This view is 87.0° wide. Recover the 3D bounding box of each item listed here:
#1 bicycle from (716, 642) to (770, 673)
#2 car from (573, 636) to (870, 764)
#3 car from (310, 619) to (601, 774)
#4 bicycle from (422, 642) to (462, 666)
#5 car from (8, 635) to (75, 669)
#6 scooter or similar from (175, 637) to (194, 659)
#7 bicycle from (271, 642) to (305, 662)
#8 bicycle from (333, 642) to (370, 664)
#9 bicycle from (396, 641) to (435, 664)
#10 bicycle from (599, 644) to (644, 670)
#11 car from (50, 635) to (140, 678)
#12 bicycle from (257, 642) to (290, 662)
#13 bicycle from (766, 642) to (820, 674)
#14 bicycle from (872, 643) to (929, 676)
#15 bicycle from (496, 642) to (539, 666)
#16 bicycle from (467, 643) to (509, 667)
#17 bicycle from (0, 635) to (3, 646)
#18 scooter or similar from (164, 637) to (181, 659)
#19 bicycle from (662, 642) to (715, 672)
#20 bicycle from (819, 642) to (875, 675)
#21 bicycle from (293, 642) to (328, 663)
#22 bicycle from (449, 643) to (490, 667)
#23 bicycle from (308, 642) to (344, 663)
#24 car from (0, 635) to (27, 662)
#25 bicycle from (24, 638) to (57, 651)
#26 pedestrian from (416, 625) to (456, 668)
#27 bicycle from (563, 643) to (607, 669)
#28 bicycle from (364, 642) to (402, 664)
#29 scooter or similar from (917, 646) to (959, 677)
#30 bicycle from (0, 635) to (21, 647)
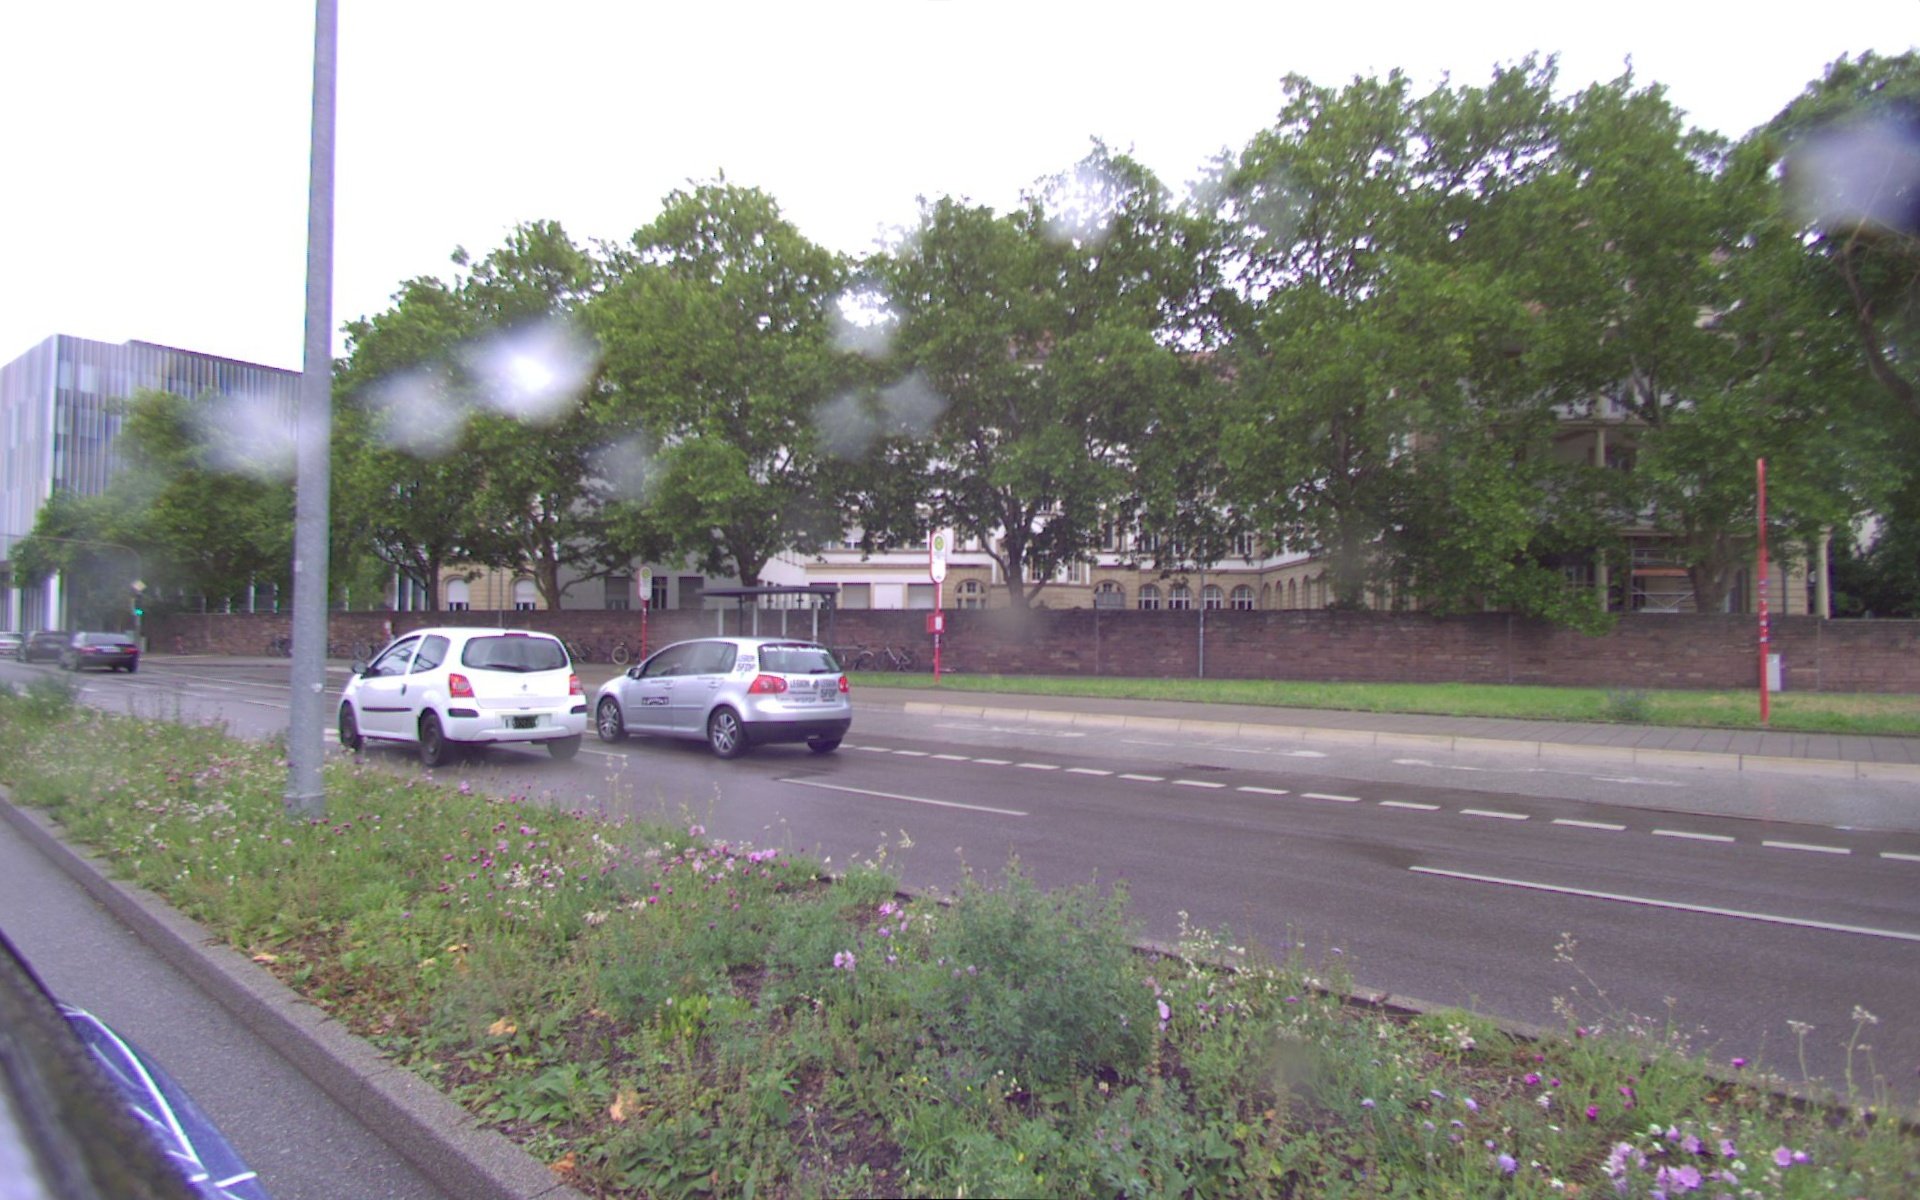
[{"bbox_3d":[-8.113,2.138,37.874,1.976,1.144,0.571,-1,-3,20],"label":"bicycle"},{"bbox_3d":[-3.229,1.199,13.262,4.155,1.415,1.662,-2,-4,41],"label":"car"},{"bbox_3d":[-6.006,1.027,11.866,3.866,1.513,1.662,-2,-4,41],"label":"car"},{"bbox_3d":[-22.777,2.373,44.532,1.693,0.990,0.726,-1,-2,28],"label":"bicycle"},{"bbox_3d":[-41.306,2.335,45.483,4.063,1.426,1.607,-2,-4,40],"label":"car"},{"bbox_3d":[-43.575,2.706,56.856,1.138,1.206,0.388,-1,4,33],"label":"scooter or similar"},{"bbox_3d":[-33.576,2.586,50.569,1.693,0.990,0.726,-1,-2,28],"label":"bicycle"},{"bbox_3d":[-28.640,2.483,47.660,1.693,0.990,0.726,-1,-2,28],"label":"bicycle"},{"bbox_3d":[-24.352,2.337,45.282,1.693,0.990,0.726,-1,-2,28],"label":"bicycle"},{"bbox_3d":[-13.308,2.231,39.795,1.693,0.990,0.726,-1,-2,28],"label":"bicycle"},{"bbox_3d":[-32.932,2.135,38.502,4.699,1.552,1.790,-2,-4,40],"label":"car"},{"bbox_3d":[-35.159,2.633,51.825,1.693,0.990,0.726,-1,-2,28],"label":"bicycle"},{"bbox_3d":[-6.157,2.118,37.233,1.979,1.144,0.570,-1,-3,23],"label":"bicycle"},{"bbox_3d":[-2.097,2.097,35.820,1.979,1.144,0.570,-1,-3,23],"label":"bicycle"},{"bbox_3d":[-18.197,2.212,41.647,1.693,0.990,0.726,-1,-2,28],"label":"bicycle"},{"bbox_3d":[-20.079,2.337,43.056,1.693,0.990,0.726,-1,-2,28],"label":"bicycle"},{"bbox_3d":[-102.516,4.289,106.769,2.251,1.231,0.599,2,-3,-42],"label":"bicycle"},{"bbox_3d":[-45.067,2.744,57.913,1.139,1.206,0.388,-1,4,34],"label":"scooter or similar"},{"bbox_3d":[-10.383,2.162,38.650,1.976,1.144,0.571,-1,-3,20],"label":"bicycle"},{"bbox_3d":[-4.076,2.088,36.343,1.979,1.144,0.570,-1,-3,23],"label":"bicycle"},{"bbox_3d":[-31.999,2.563,49.865,1.693,0.990,0.726,-1,-2,28],"label":"bicycle"},{"bbox_3d":[-21.221,2.362,43.774,1.693,0.990,0.726,-1,-2,28],"label":"bicycle"},{"bbox_3d":[-30.360,2.509,48.427,1.859,0.990,0.725,-1,-2,32],"label":"bicycle"},{"bbox_3d":[-51.062,2.553,53.731,4.520,1.426,1.580,-2,-4,40],"label":"car"},{"bbox_3d":[-89.485,4.335,98.493,0.596,1.231,2.265,-1,-3,26],"label":"bicycle"},{"bbox_3d":[-21.147,1.860,40.855,1.396,1.708,0.861,-1,-3,33],"label":"pedestrian"},{"bbox_3d":[-15.117,2.243,40.820,1.693,0.990,0.726,-1,-2,28],"label":"bicycle"},{"bbox_3d":[-26.676,2.453,46.764,1.693,0.990,0.726,-1,-2,28],"label":"bicycle"},{"bbox_3d":[-0.756,2.139,35.293,1.353,1.055,0.569,-1,-3,23],"label":"scooter or similar"},{"bbox_3d":[-97.506,4.169,103.445,2.251,1.231,0.599,2,-3,-42],"label":"bicycle"}]
